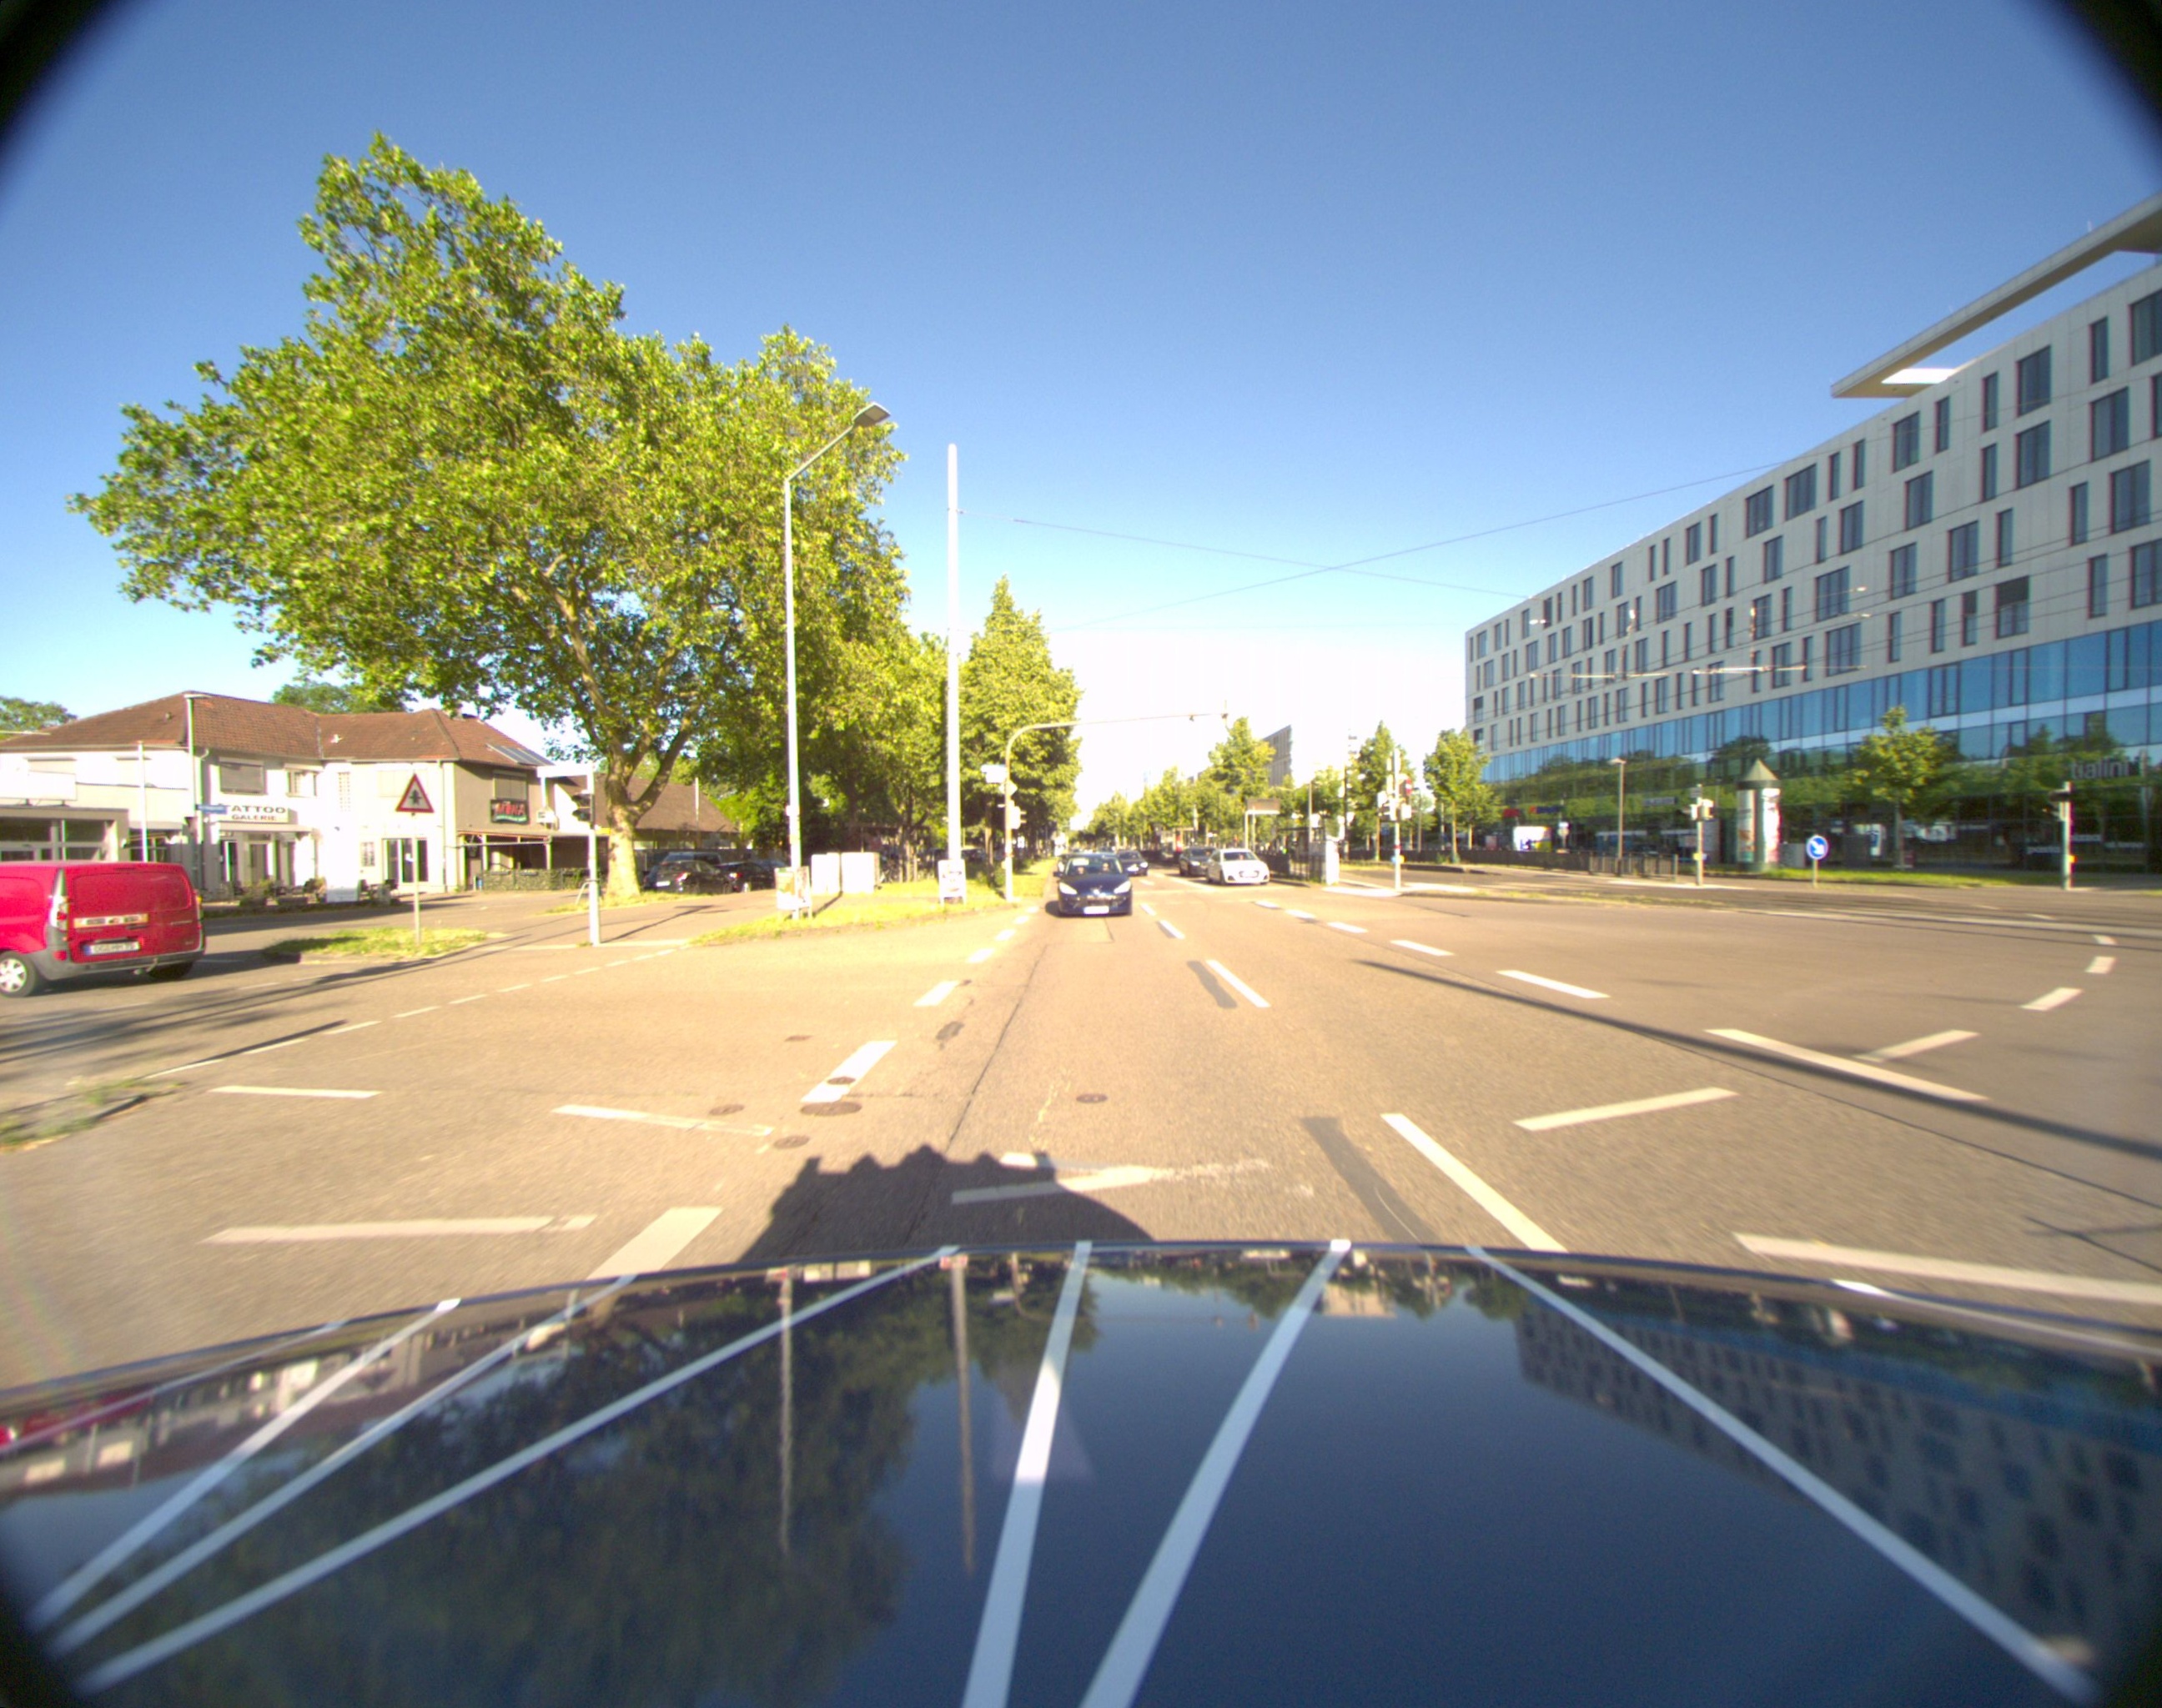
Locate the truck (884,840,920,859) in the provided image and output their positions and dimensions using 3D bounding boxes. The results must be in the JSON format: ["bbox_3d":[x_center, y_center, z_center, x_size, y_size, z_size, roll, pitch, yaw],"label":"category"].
[{"bbox_3d":[-20.894,-0.614,88.908,2.455,2.063,6.580,-2,1,2],"label":"truck"}]

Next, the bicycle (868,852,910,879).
[{"bbox_3d":[-8.713,0.503,34.546,1.700,1.162,0.551,-2,2,2],"label":"bicycle"}]

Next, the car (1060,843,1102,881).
[{"bbox_3d":[0.063,0.321,35.886,1.803,1.518,4.604,-3,1,2],"label":"car"}]

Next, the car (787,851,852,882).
[{"bbox_3d":[-14.516,0.658,42.487,1.898,1.480,4.346,-2,1,3],"label":"car"}]

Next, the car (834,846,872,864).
[{"bbox_3d":[-21.851,0.097,72.978,1.998,1.520,4.654,-2,1,2],"label":"car"}]

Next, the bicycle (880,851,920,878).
[{"bbox_3d":[-8.522,0.489,35.760,1.700,1.162,0.551,-2,2,1],"label":"bicycle"}]

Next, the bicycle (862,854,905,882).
[{"bbox_3d":[-8.691,0.602,33.396,1.699,1.162,0.551,-2,2,8],"label":"bicycle"}]

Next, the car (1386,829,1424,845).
[{"bbox_3d":[33.162,-1.762,77.908,1.803,1.518,4.341,-3,1,-2],"label":"car"}]

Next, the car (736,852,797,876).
[{"bbox_3d":[-22.086,0.667,53.618,1.898,1.477,4.914,-2,1,4],"label":"car"}]

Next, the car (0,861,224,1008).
[{"bbox_3d":[-14.987,1.034,10.567,4.110,1.804,1.854,0,1,3],"label":"car"}]

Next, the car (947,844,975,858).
[{"bbox_3d":[-12.570,-0.346,79.894,1.998,1.355,4.865,-2,1,1],"label":"car"}]

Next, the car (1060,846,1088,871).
[{"bbox_3d":[-0.437,0.295,52.765,1.803,1.518,4.604,-3,1,0],"label":"car"}]

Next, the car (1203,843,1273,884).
[{"bbox_3d":[6.137,0.336,30.141,1.676,1.418,4.003,-3,1,-3],"label":"car"}]

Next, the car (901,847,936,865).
[{"bbox_3d":[-13.197,0.148,62.078,1.943,1.372,3.913,-2,1,1],"label":"car"}]

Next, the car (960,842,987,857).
[{"bbox_3d":[-12.046,-0.545,85.273,1.998,1.587,4.655,-2,1,5],"label":"car"}]

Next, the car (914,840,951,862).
[{"bbox_3d":[-13.061,-0.290,67.169,2.037,1.732,5.021,-2,1,3],"label":"car"}]

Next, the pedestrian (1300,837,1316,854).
[{"bbox_3d":[19.310,-0.713,64.620,1.068,1.458,0.844,-2,2,4],"label":"pedestrian"}]

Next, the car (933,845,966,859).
[{"bbox_3d":[-12.590,-0.199,72.978,1.998,1.242,4.654,-2,1,4],"label":"car"}]

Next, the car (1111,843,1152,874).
[{"bbox_3d":[2.769,0.213,42.636,1.803,1.518,4.341,-3,1,-2],"label":"car"}]

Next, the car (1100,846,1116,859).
[{"bbox_3d":[3.136,-0.226,89.829,1.675,1.418,4.004,-3,1,0],"label":"car"}]

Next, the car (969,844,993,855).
[{"bbox_3d":[-11.888,-0.573,90.742,1.998,1.204,4.114,-2,1,4],"label":"car"}]

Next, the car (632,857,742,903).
[{"bbox_3d":[-14.711,0.909,28.666,1.898,1.457,4.036,-2,1,2],"label":"car"}]

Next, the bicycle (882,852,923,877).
[{"bbox_3d":[-8.636,0.495,36.809,1.807,1.162,0.551,-2,2,2],"label":"bicycle"}]

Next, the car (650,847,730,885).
[{"bbox_3d":[-22.395,0.635,43.765,1.898,2.025,5.069,0,1,1],"label":"car"}]

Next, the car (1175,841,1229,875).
[{"bbox_3d":[6.009,0.141,38.180,1.803,1.518,4.341,-3,1,-2],"label":"car"}]

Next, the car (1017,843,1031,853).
[{"bbox_3d":[-9.309,-1.029,124.702,1.999,1.576,3.999,-2,1,0],"label":"car"}]

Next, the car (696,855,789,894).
[{"bbox_3d":[-14.652,0.843,33.143,1.898,1.403,4.346,-2,1,2],"label":"car"}]

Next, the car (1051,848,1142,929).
[{"bbox_3d":[0.396,0.706,17.963,1.803,1.518,4.604,-3,1,2],"label":"car"}]
